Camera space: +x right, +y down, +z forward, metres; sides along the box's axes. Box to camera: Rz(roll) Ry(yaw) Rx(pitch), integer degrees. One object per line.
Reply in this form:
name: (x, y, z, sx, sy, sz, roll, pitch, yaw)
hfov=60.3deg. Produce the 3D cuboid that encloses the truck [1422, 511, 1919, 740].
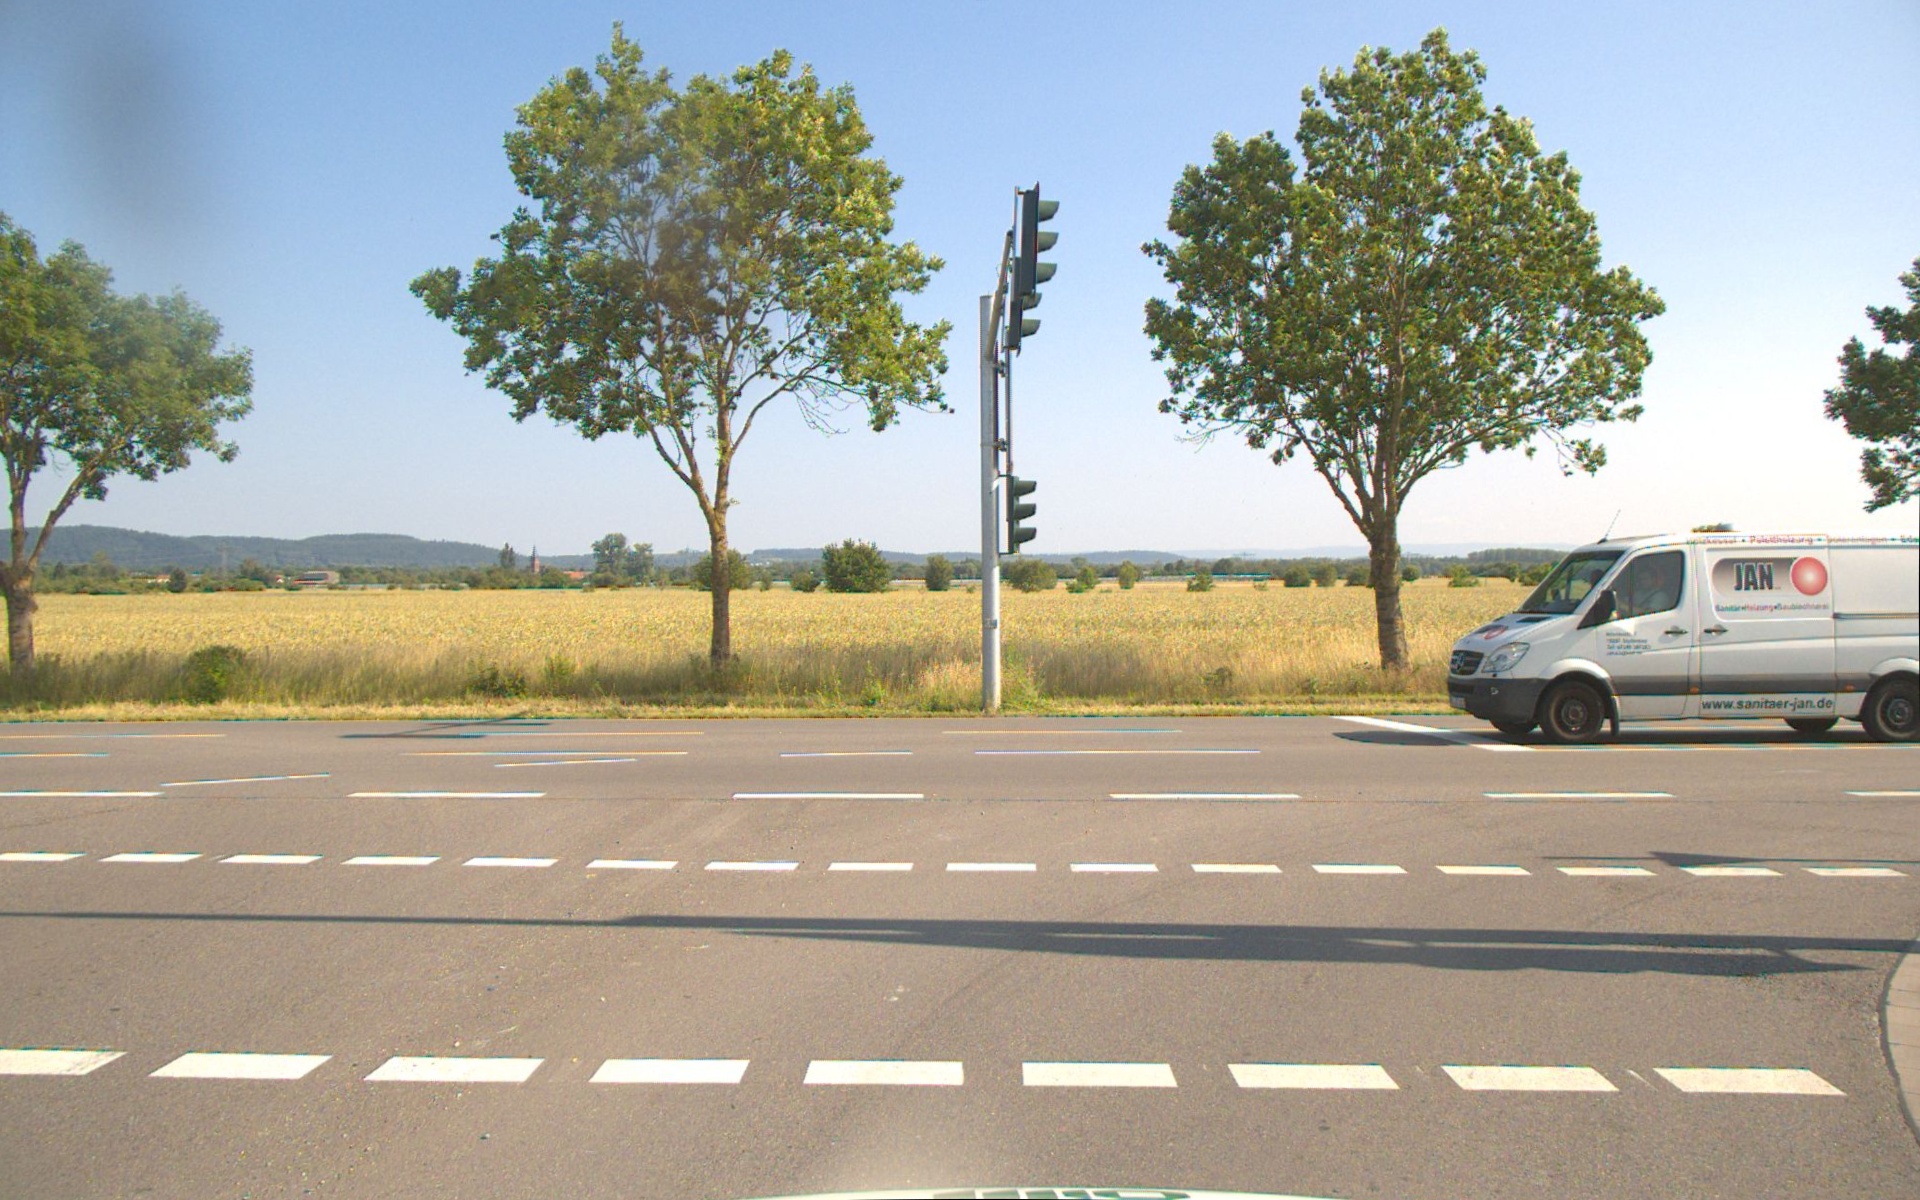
truck: (8.604, 0.276, 18.905, 6.053, 2.447, 2.071, 0, -1, -1)

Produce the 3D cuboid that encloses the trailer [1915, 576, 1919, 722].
trailer: (14.083, 0.570, 19.207, 4.896, 1.768, 1.980, 0, -1, -3)
